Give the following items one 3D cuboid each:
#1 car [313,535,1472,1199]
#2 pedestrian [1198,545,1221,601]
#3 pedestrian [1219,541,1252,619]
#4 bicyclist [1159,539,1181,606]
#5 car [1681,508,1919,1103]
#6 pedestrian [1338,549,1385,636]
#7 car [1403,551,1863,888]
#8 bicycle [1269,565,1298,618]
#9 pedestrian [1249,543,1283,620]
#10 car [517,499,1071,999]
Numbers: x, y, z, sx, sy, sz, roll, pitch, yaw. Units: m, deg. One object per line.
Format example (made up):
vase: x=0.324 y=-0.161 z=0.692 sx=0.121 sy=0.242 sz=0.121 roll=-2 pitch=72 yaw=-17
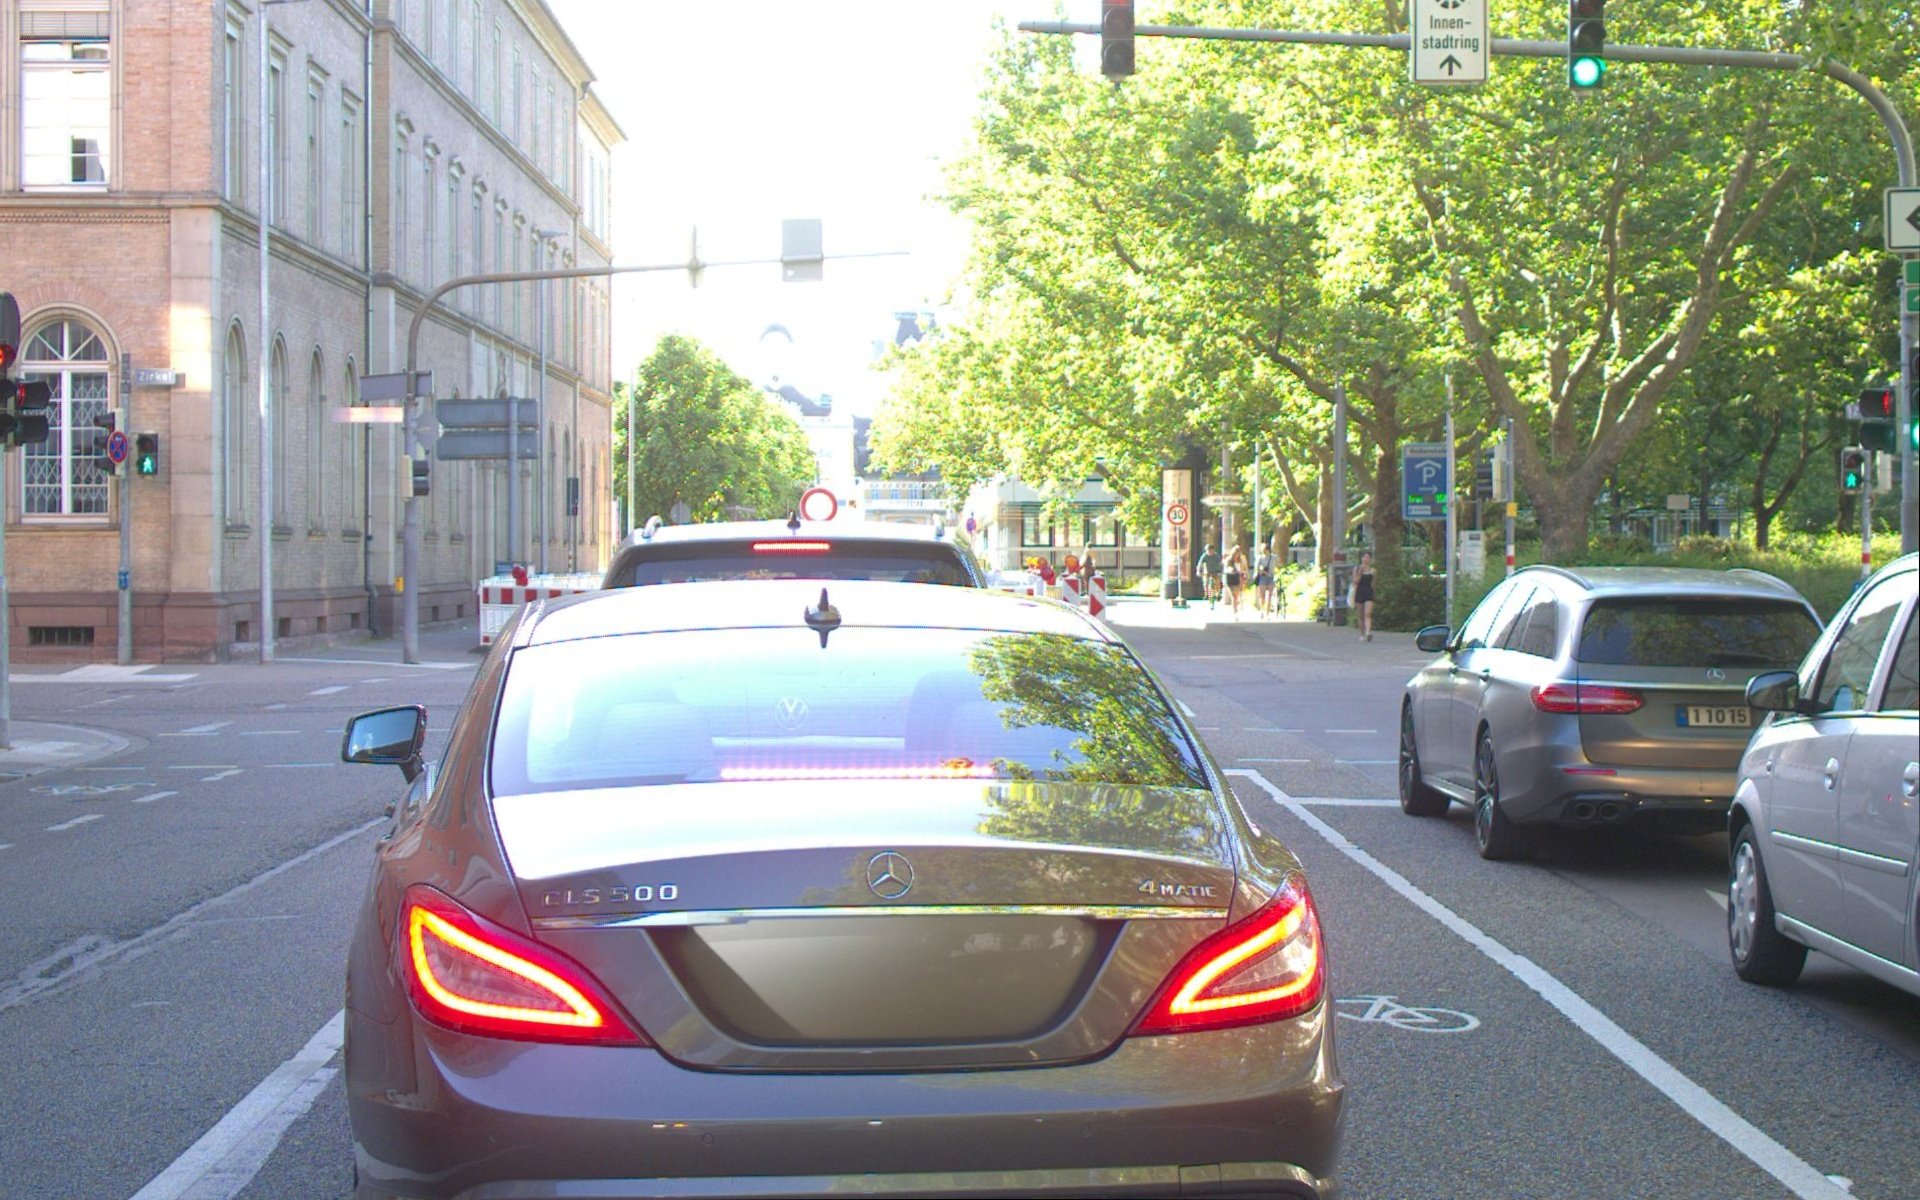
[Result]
car: x=-0.364 y=0.625 z=7.492 sx=1.861 sy=1.514 sz=4.001 roll=0 pitch=1 yaw=-8
pedestrian: x=6.697 y=-0.718 z=92.152 sx=0.555 sy=1.504 sz=0.346 roll=1 pitch=0 yaw=-4
pedestrian: x=6.363 y=-0.464 z=79.387 sx=0.635 sy=1.791 sz=0.699 roll=1 pitch=0 yaw=-4
bicyclist: x=6.408 y=-0.850 z=104.945 sx=0.594 sy=2.032 sz=0.566 roll=1 pitch=0 yaw=-4
car: x=3.536 y=0.571 z=10.746 sx=1.731 sy=1.656 sz=3.681 roll=1 pitch=1 yaw=-1
pedestrian: x=7.154 y=-0.139 z=61.278 sx=0.635 sy=1.540 sz=0.910 roll=1 pitch=0 yaw=-4
car: x=3.362 y=0.536 z=17.800 sx=1.601 sy=1.543 sz=3.681 roll=1 pitch=1 yaw=-1
bicycle: x=7.421 y=-0.193 z=78.819 sx=0.482 sy=1.198 sz=1.606 roll=1 pitch=0 yaw=-1
pedestrian: x=7.063 y=-0.432 z=79.330 sx=0.635 sy=1.754 sz=0.699 roll=1 pitch=0 yaw=-4
car: x=-0.584 y=0.470 z=13.622 sx=1.861 sy=1.677 sz=4.000 roll=1 pitch=1 yaw=-1
